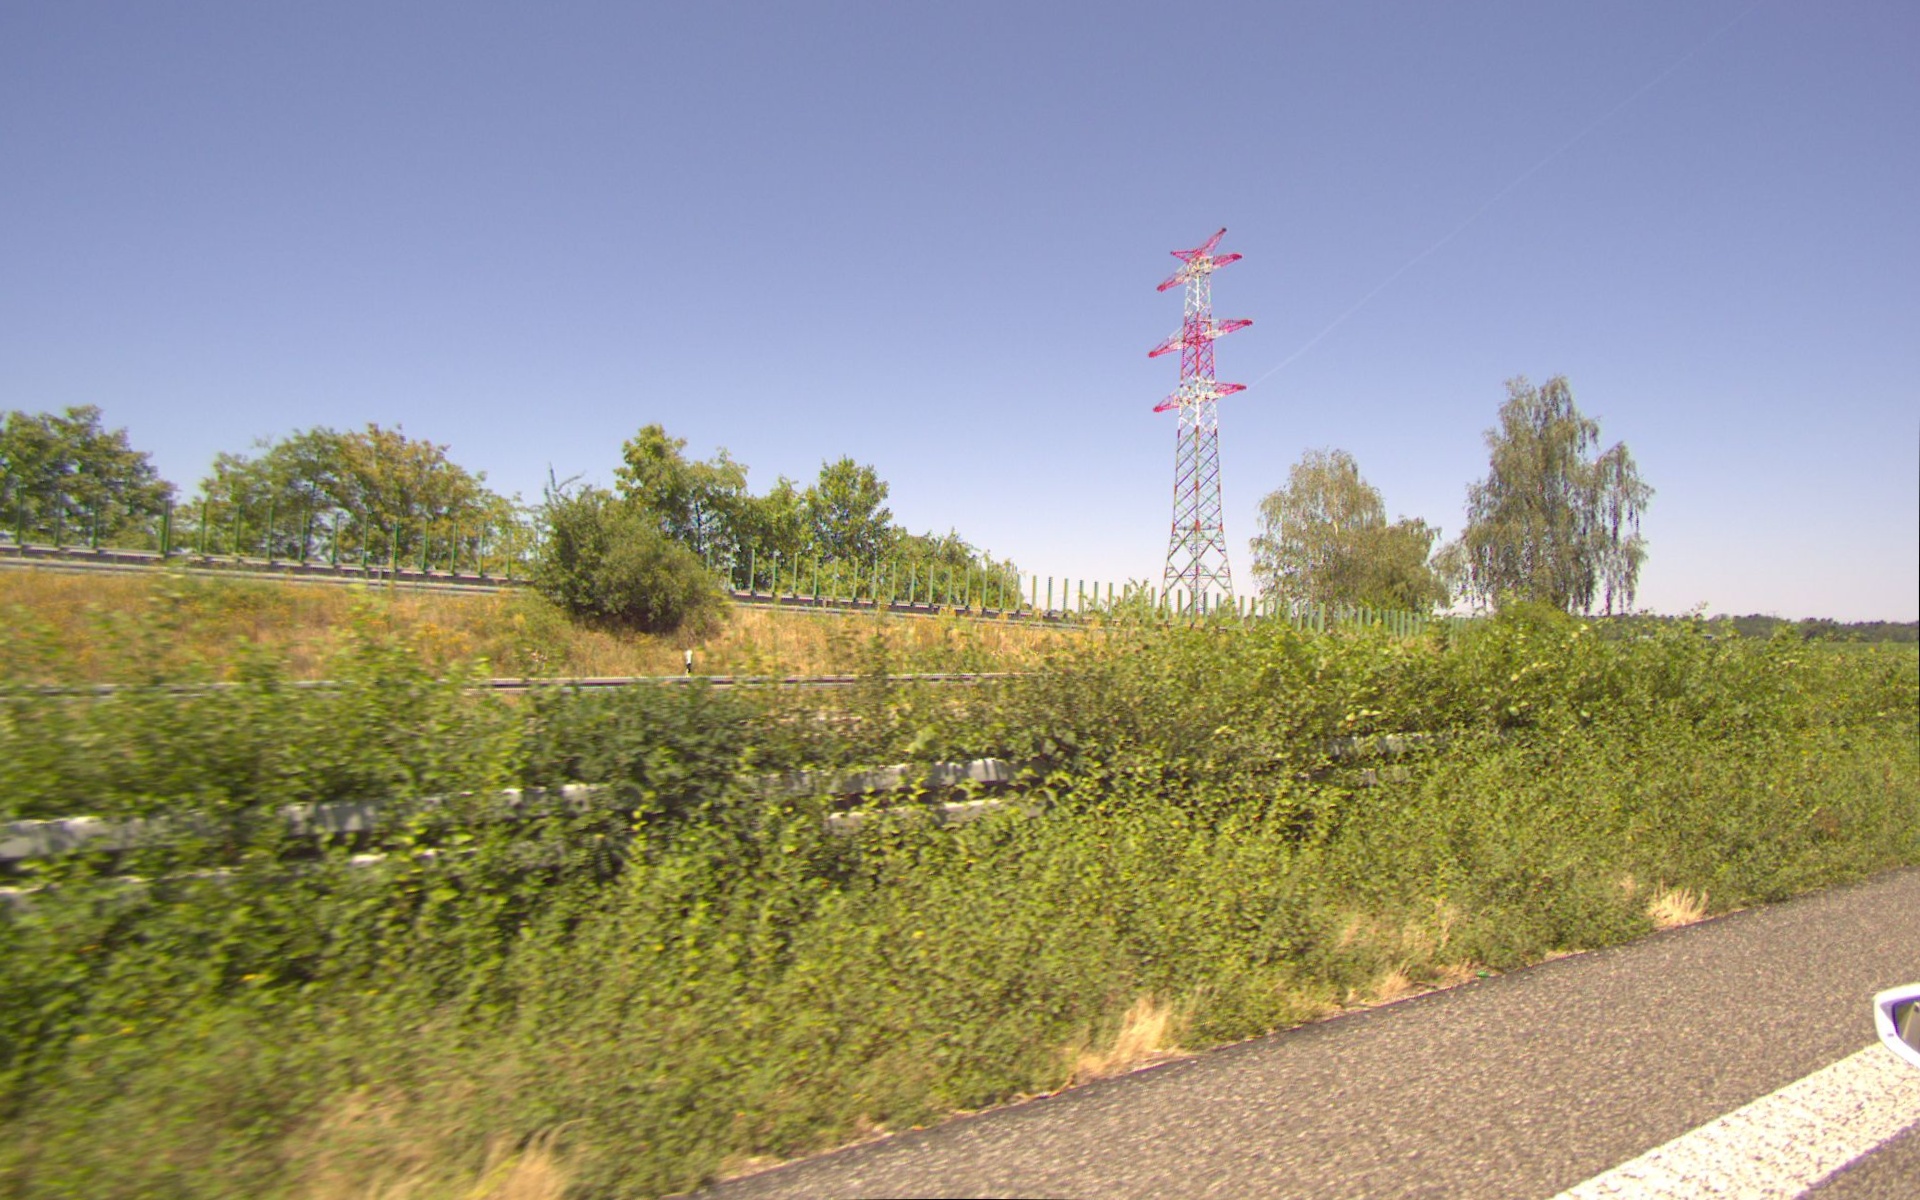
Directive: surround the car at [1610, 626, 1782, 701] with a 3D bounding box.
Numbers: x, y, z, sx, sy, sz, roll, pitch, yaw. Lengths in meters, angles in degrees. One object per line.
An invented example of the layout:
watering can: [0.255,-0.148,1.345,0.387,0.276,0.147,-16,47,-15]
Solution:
car: [19.060,1.602,25.965,4.958,1.788,1.780,2,-2,-30]
